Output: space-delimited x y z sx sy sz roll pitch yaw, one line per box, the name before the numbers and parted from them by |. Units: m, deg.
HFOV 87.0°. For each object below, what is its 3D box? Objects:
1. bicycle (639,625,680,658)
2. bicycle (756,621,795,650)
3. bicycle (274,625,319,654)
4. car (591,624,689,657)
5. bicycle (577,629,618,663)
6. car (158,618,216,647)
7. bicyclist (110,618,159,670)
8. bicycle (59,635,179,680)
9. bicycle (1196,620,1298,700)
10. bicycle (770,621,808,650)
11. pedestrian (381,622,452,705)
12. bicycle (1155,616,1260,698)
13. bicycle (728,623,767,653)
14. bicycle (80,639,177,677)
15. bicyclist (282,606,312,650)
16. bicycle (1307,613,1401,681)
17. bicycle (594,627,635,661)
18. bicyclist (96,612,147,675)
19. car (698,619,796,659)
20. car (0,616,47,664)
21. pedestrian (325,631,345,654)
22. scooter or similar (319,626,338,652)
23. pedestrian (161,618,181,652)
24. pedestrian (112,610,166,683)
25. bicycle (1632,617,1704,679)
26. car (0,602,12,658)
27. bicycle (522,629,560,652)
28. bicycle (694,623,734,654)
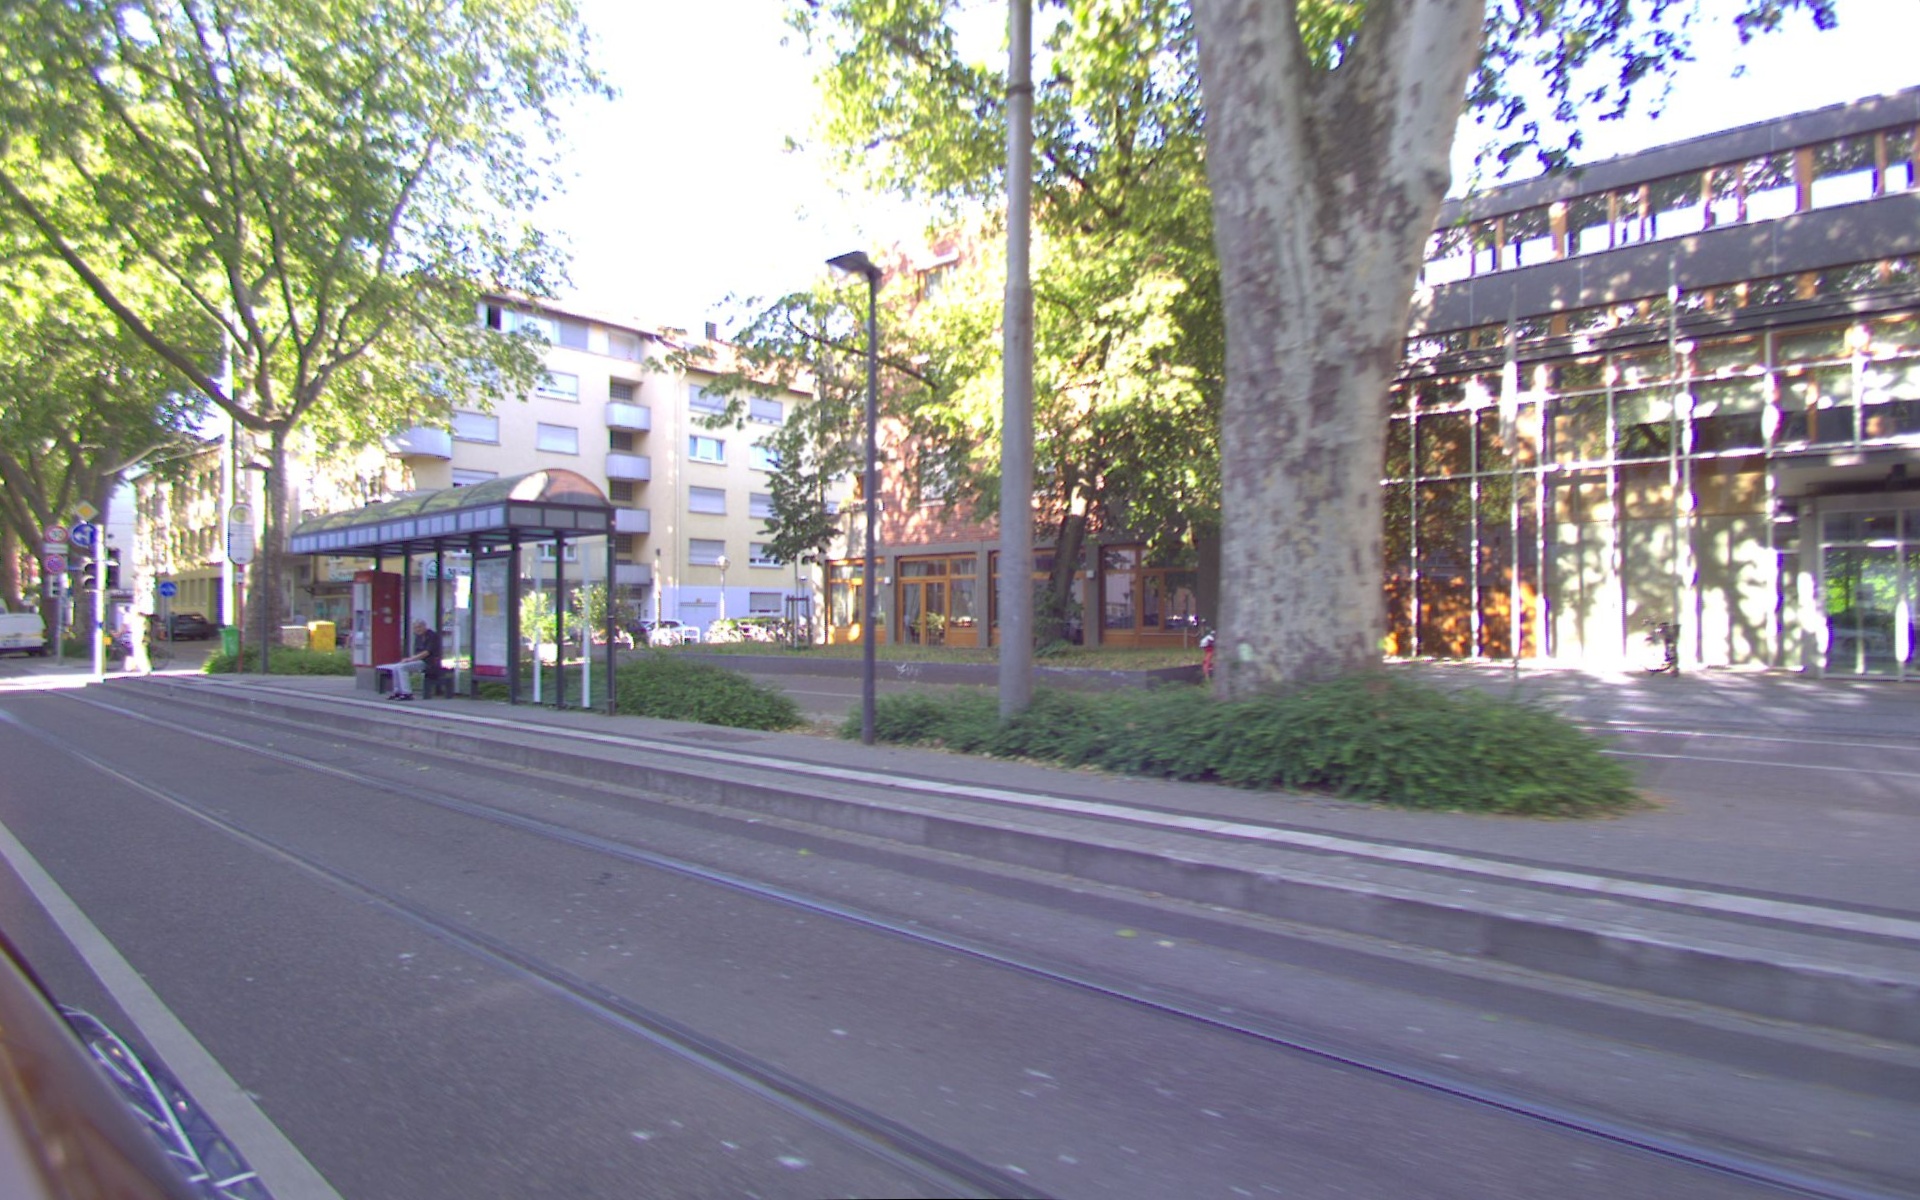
bicycle | -10.558 1.459 35.567 1.637 1.092 0.536 -3 -2 40
bicycle | -7.167 1.372 39.305 1.637 1.092 0.536 -1 0 40
bicycle | -27.032 1.602 41.205 2.593 1.119 0.775 -1 0 38
car | -14.982 1.854 47.548 1.998 1.386 3.947 -1 0 40
bicycle | -12.151 1.543 33.909 1.535 1.092 0.536 -4 -3 40
car | -48.526 1.999 63.490 4.896 1.746 1.973 -1 0 41
bicyclist | -25.220 1.331 30.920 0.976 1.559 0.684 0 0 -19
bicycle | -24.232 1.636 29.228 2.551 1.200 0.787 0 0 -23
bicycle | 4.780 0.947 16.748 0.682 1.175 2.316 -1 0 41
bicycle | -6.739 1.395 39.884 1.637 1.092 0.536 -1 0 40
pedestrian | -7.990 0.920 14.888 0.658 1.177 0.698 -1 -2 38
bicycle | 4.276 0.927 17.335 0.682 1.228 2.432 -1 1 41
bicycle | -8.048 1.422 38.312 1.637 1.092 0.536 -1 0 40
bicycle | -25.350 1.751 30.885 2.176 1.078 0.684 0 0 -19
bicyclist | -26.967 1.139 41.171 0.996 1.763 0.767 -1 0 39
bicycle | 7.362 0.867 18.940 1.477 1.228 0.683 0 0 -7
bicycle | -11.755 1.497 34.388 1.637 1.092 0.536 -4 -2 40
bicyclist | -24.212 1.232 29.233 0.934 1.776 0.787 0 0 -22
car | -9.446 1.685 45.176 1.959 1.674 3.947 -1 -1 40
car | -39.407 1.616 41.904 4.314 1.864 1.746 -1 0 39
pedestrian | -29.368 1.980 47.554 0.710 1.055 0.572 -1 0 39
scooter or similar | -29.601 1.840 47.460 0.633 1.176 0.677 0 0 -23
pedestrian | -45.372 1.995 58.196 0.863 1.883 0.737 -1 0 39
pedestrian | -21.425 1.199 26.406 0.918 1.849 0.915 -1 0 37
bicycle | 13.309 0.871 19.082 0.760 1.081 1.930 -1 0 24
car | -47.679 1.436 49.087 6.024 2.597 2.085 -1 0 43
bicycle | -20.537 1.979 49.607 0.543 1.092 1.616 -3 -2 42
bicycle | -9.078 1.429 37.326 1.637 1.092 0.536 -2 -2 40
